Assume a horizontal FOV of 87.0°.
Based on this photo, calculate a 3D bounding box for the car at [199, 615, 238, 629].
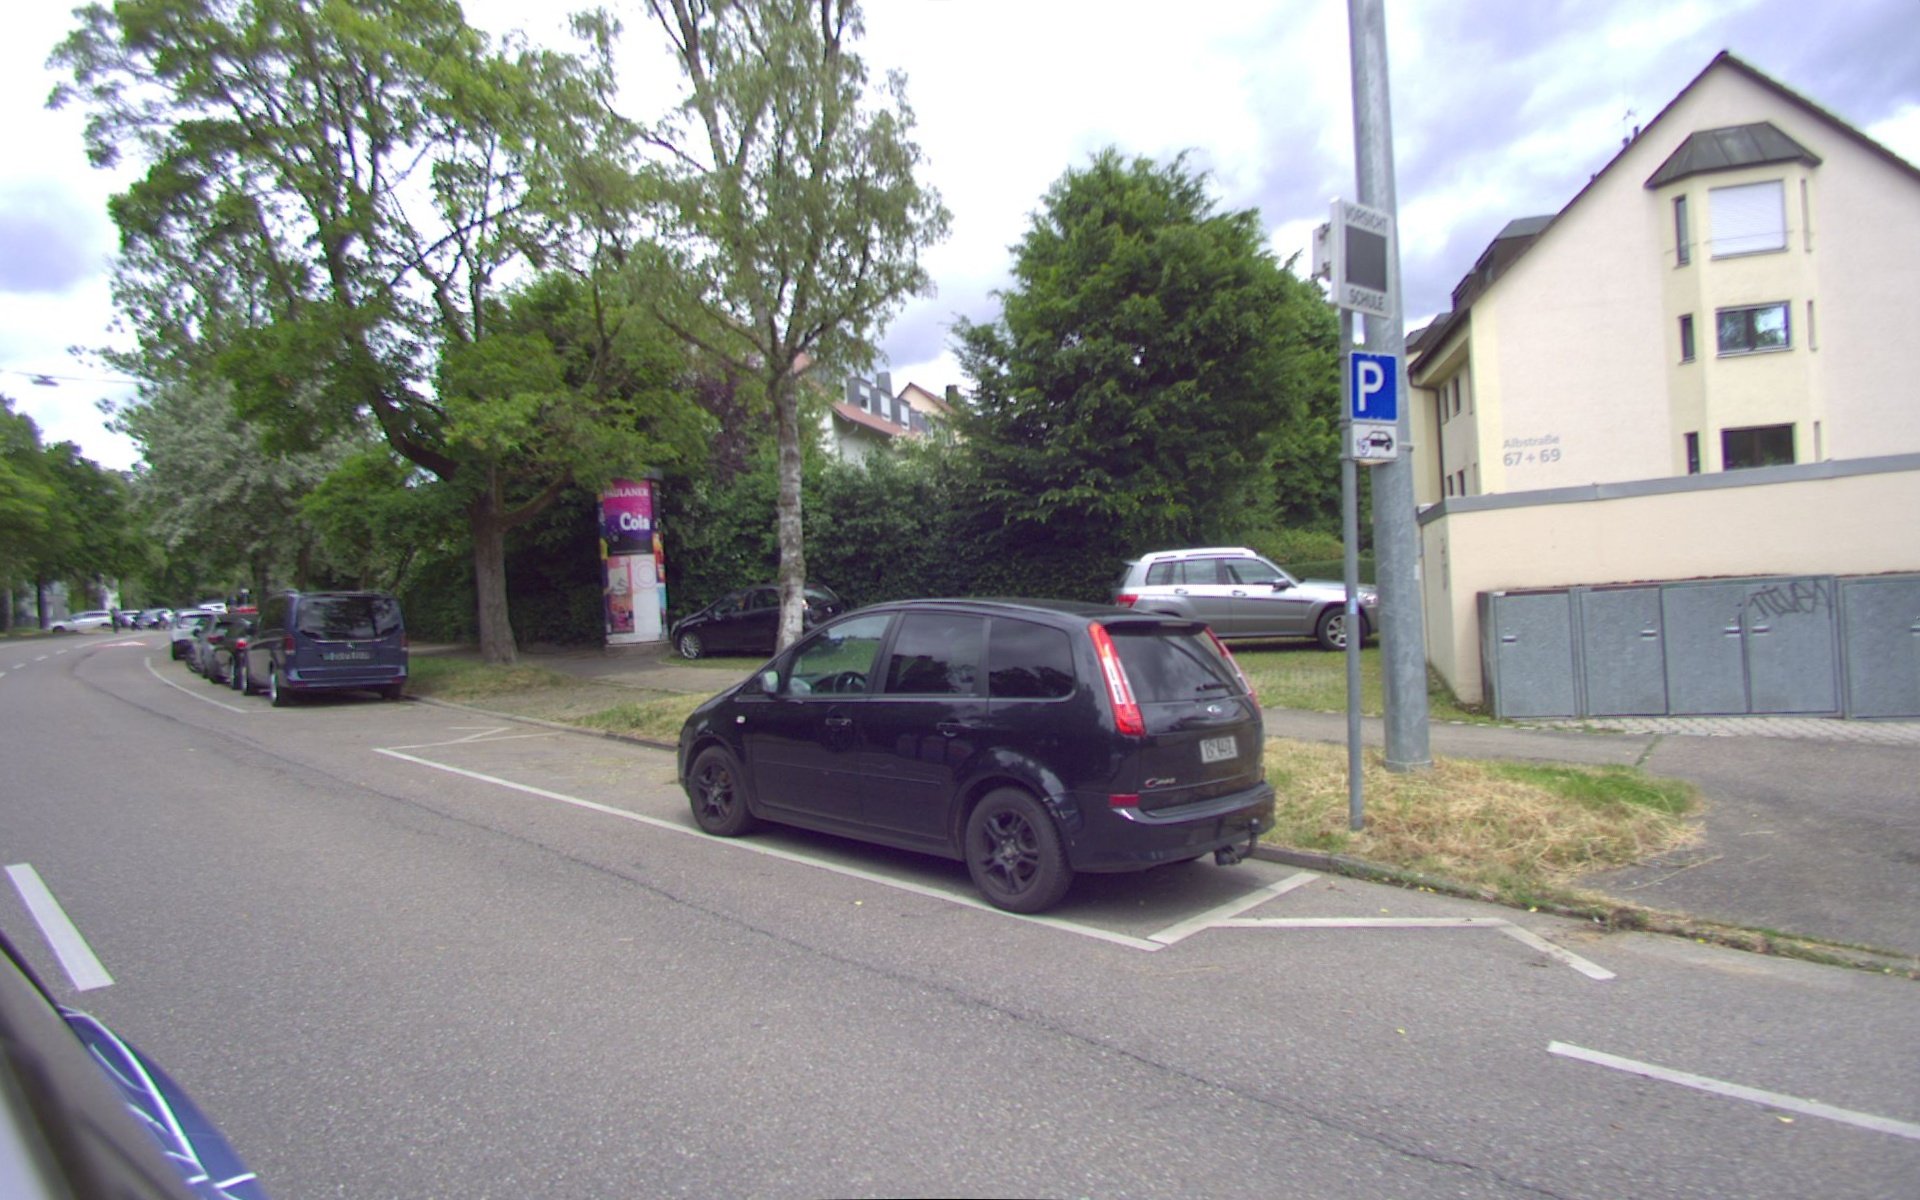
[{"bbox_3d":[-94.056,2.819,128.394,3.798,1.445,1.658,-5,2,-40],"label":"car"}]

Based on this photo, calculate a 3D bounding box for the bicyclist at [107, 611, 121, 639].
[{"bbox_3d":[-56.619,1.655,67.721,0.637,1.792,0.629,-2,1,-37],"label":"bicyclist"}]

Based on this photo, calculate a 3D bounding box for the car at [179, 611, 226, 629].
[{"bbox_3d":[-91.904,2.434,122.798,1.857,1.771,4.167,-2,2,39],"label":"car"}]

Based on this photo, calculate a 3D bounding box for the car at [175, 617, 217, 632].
[{"bbox_3d":[-90.617,2.884,120.007,3.798,1.449,1.718,-5,2,-40],"label":"car"}]

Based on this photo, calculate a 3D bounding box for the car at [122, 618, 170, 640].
[{"bbox_3d":[-61.179,2.160,76.120,1.830,1.384,4.089,-3,1,-25],"label":"car"}]

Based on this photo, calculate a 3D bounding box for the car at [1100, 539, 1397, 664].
[{"bbox_3d":[4.629,-0.003,16.728,4.360,1.661,1.993,-4,3,13],"label":"car"}]

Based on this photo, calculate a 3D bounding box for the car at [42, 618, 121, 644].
[{"bbox_3d":[-67.755,2.341,78.132,4.412,1.597,1.910,-5,2,-39],"label":"car"}]

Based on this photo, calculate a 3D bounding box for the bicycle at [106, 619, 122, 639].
[{"bbox_3d":[-56.675,1.937,67.809,0.637,1.246,1.881,-3,1,-37],"label":"bicycle"}]

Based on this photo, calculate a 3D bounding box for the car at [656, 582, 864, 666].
[{"bbox_3d":[-4.191,0.501,21.115,3.971,1.488,1.763,-2,4,28],"label":"car"}]

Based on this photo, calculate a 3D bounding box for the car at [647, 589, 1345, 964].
[{"bbox_3d":[-0.040,0.797,6.382,4.266,1.575,1.785,-1,-2,42],"label":"car"}]

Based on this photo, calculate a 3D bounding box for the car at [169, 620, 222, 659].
[{"bbox_3d":[-33.135,1.652,43.944,1.712,1.549,4.199,-1,0,-35],"label":"car"}]

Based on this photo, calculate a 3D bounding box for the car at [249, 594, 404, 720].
[{"bbox_3d":[-11.574,0.915,18.311,1.834,1.923,5.093,-2,0,-38],"label":"car"}]

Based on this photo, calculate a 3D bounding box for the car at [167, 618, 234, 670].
[{"bbox_3d":[-26.024,1.451,34.613,1.713,1.590,4.149,-1,0,-38],"label":"car"}]

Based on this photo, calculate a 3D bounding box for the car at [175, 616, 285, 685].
[{"bbox_3d":[-18.622,1.213,25.756,1.843,1.549,4.233,-2,0,-41],"label":"car"}]

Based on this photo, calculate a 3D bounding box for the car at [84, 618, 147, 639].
[{"bbox_3d":[-74.242,2.502,89.030,1.864,1.475,3.949,-2,2,39],"label":"car"}]
